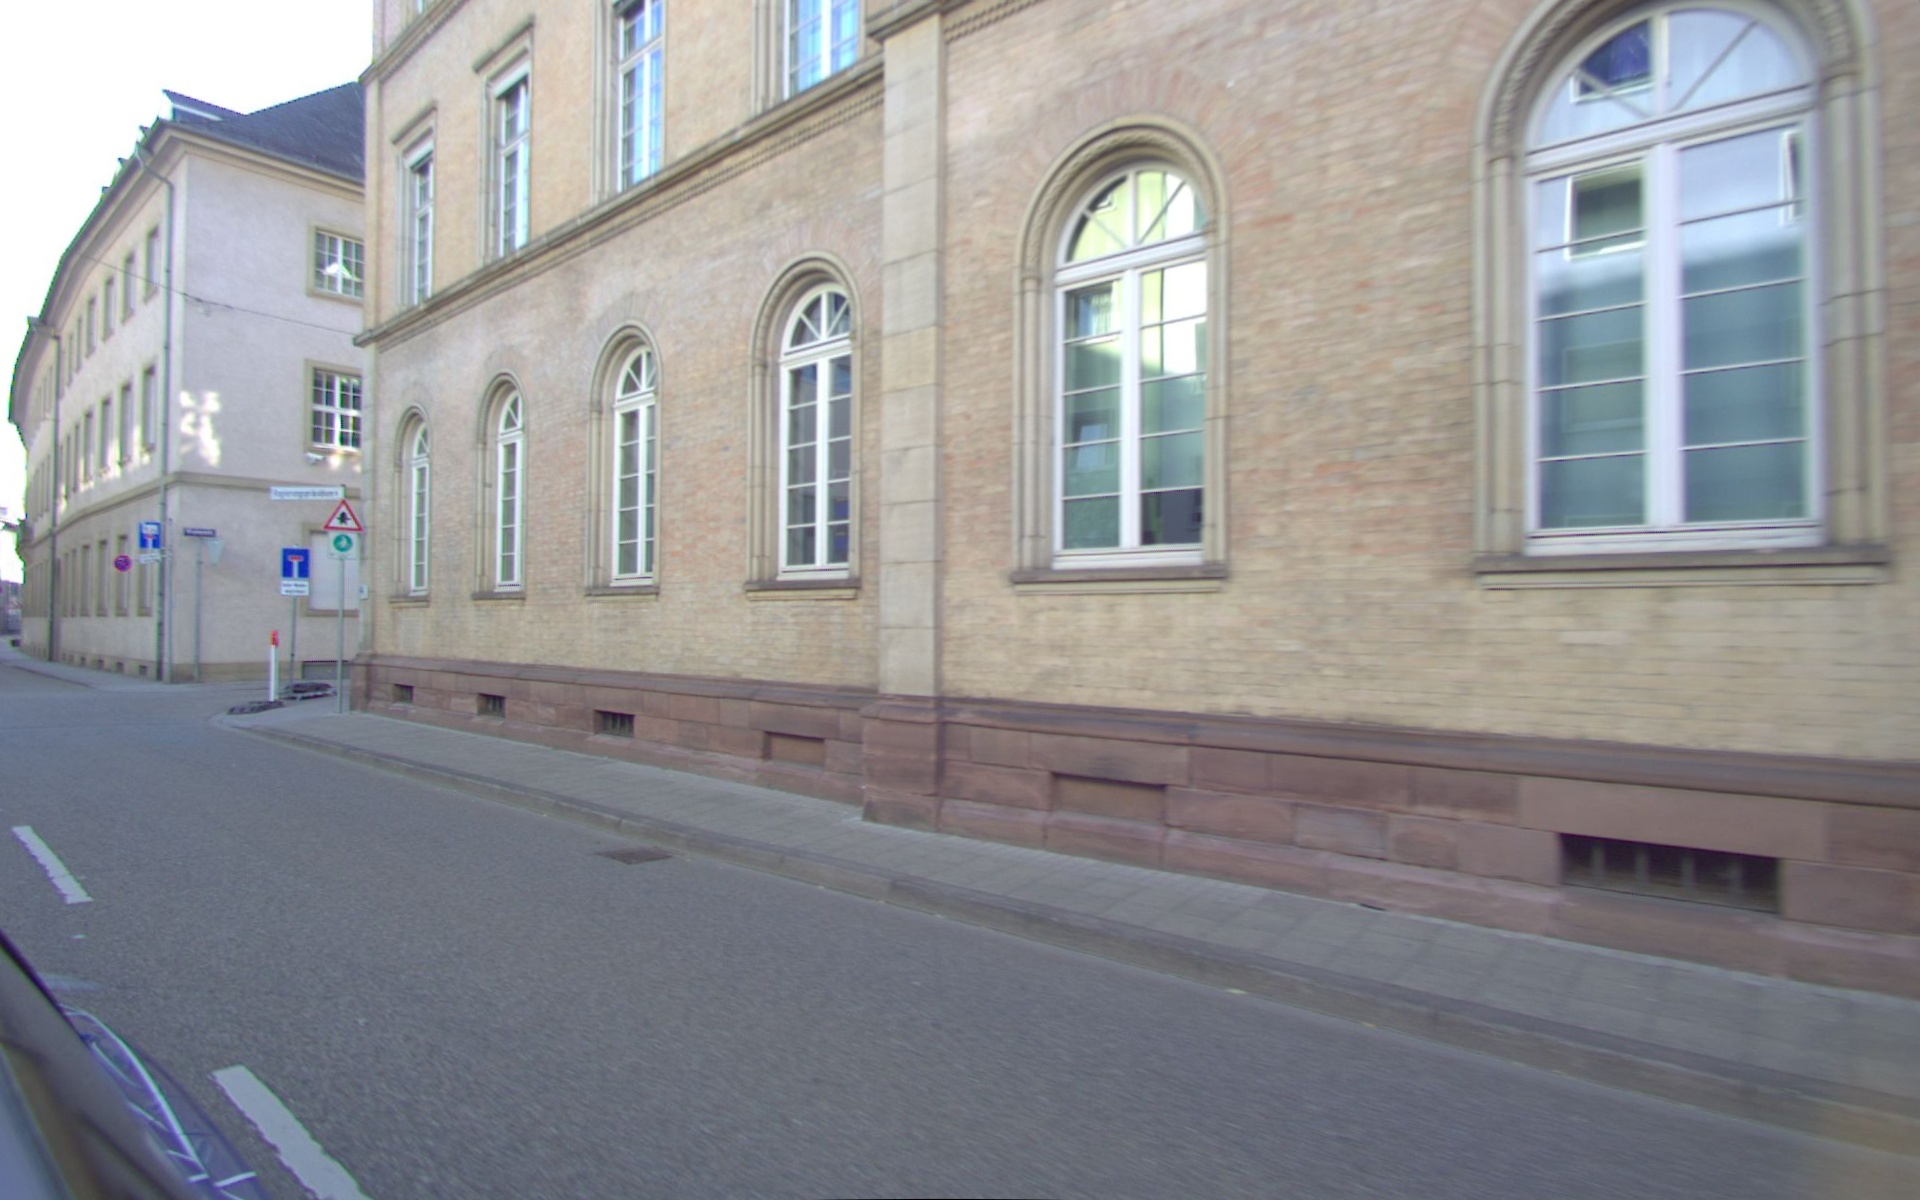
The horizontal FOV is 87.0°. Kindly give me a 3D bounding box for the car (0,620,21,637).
[{"bbox_3d":[-95.683,2.831,101.171,1.747,1.595,3.868,-4,1,-31],"label":"car"}]
